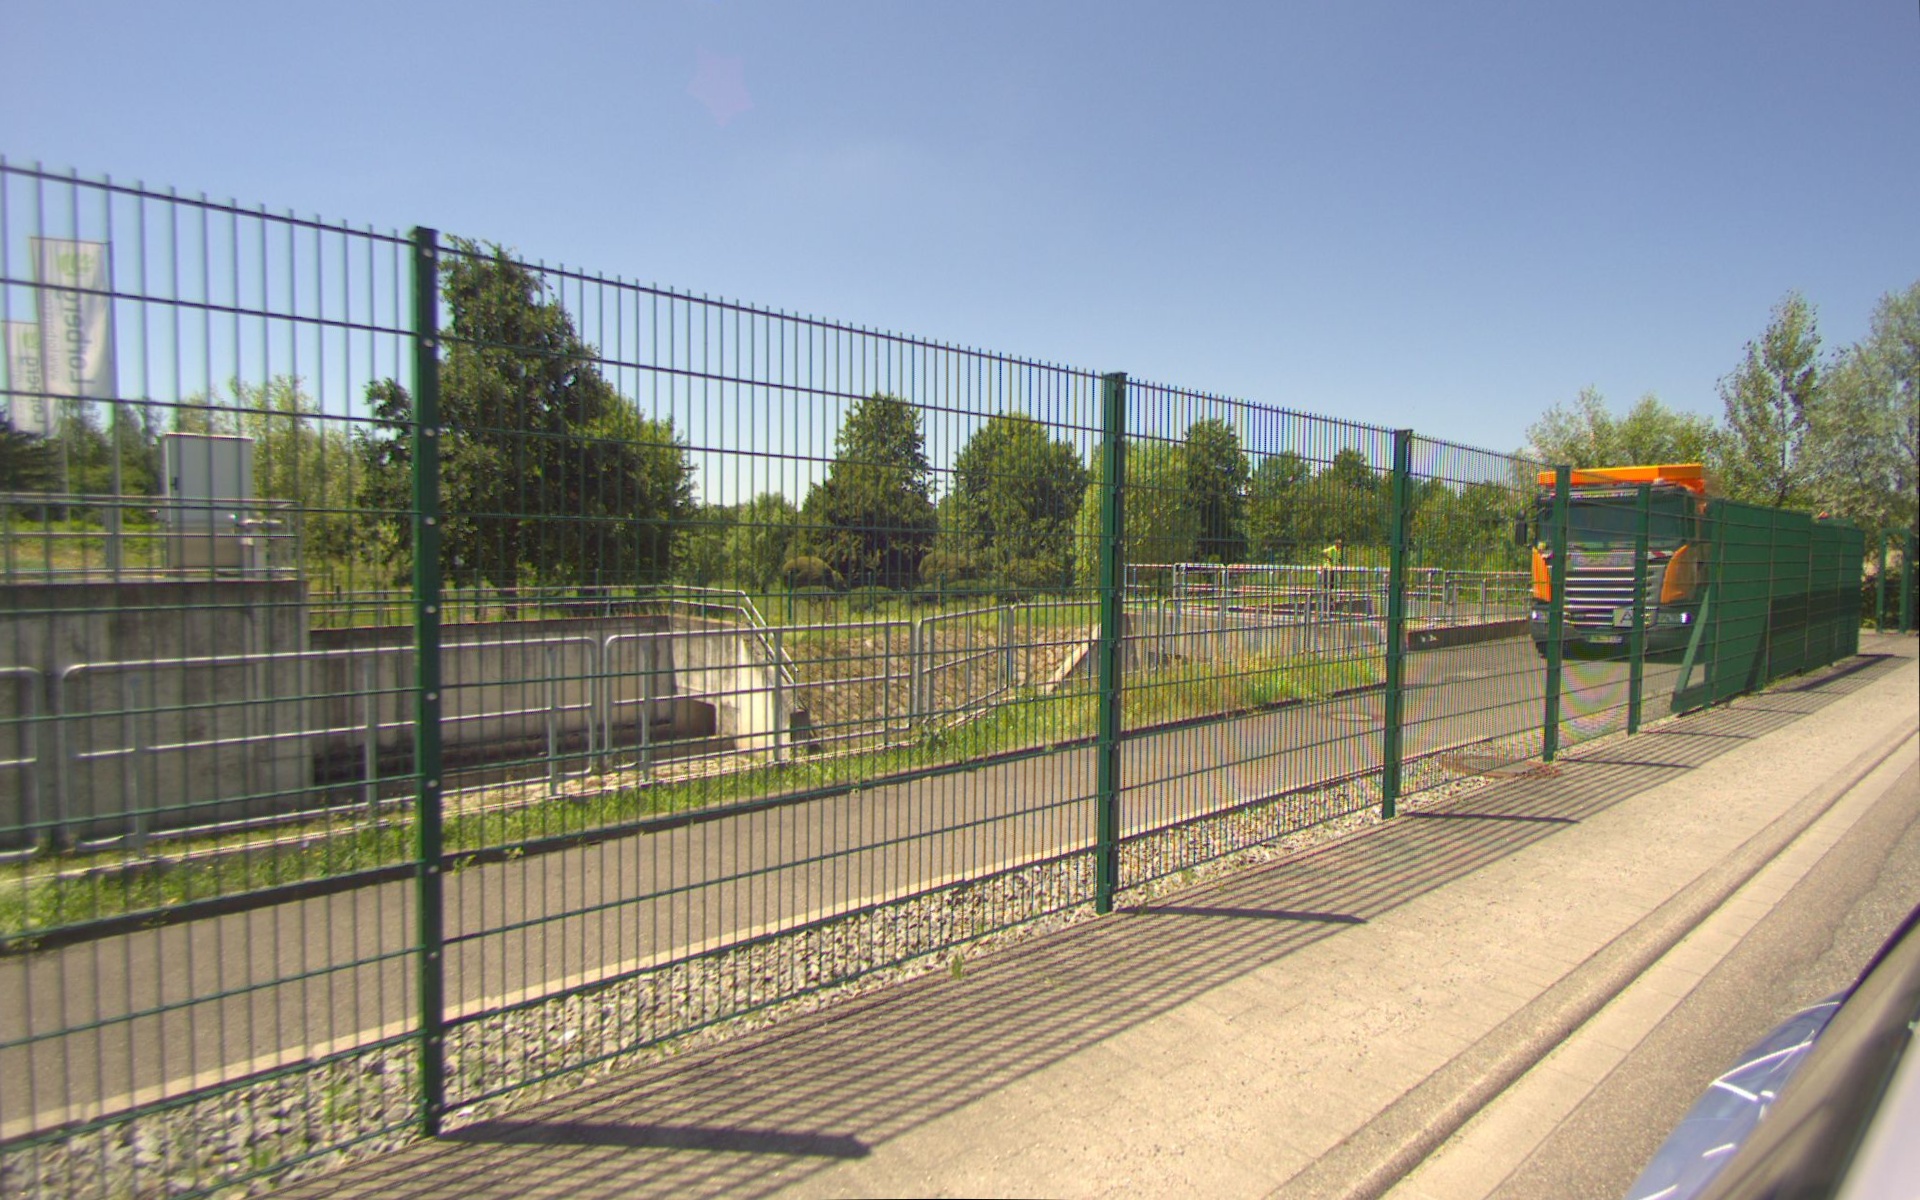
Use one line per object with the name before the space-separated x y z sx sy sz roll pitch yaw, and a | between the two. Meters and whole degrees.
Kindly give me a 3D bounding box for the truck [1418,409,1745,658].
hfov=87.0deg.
truck | 12.716 -1.289 20.260 4.148 3.852 8.486 3 4 41
